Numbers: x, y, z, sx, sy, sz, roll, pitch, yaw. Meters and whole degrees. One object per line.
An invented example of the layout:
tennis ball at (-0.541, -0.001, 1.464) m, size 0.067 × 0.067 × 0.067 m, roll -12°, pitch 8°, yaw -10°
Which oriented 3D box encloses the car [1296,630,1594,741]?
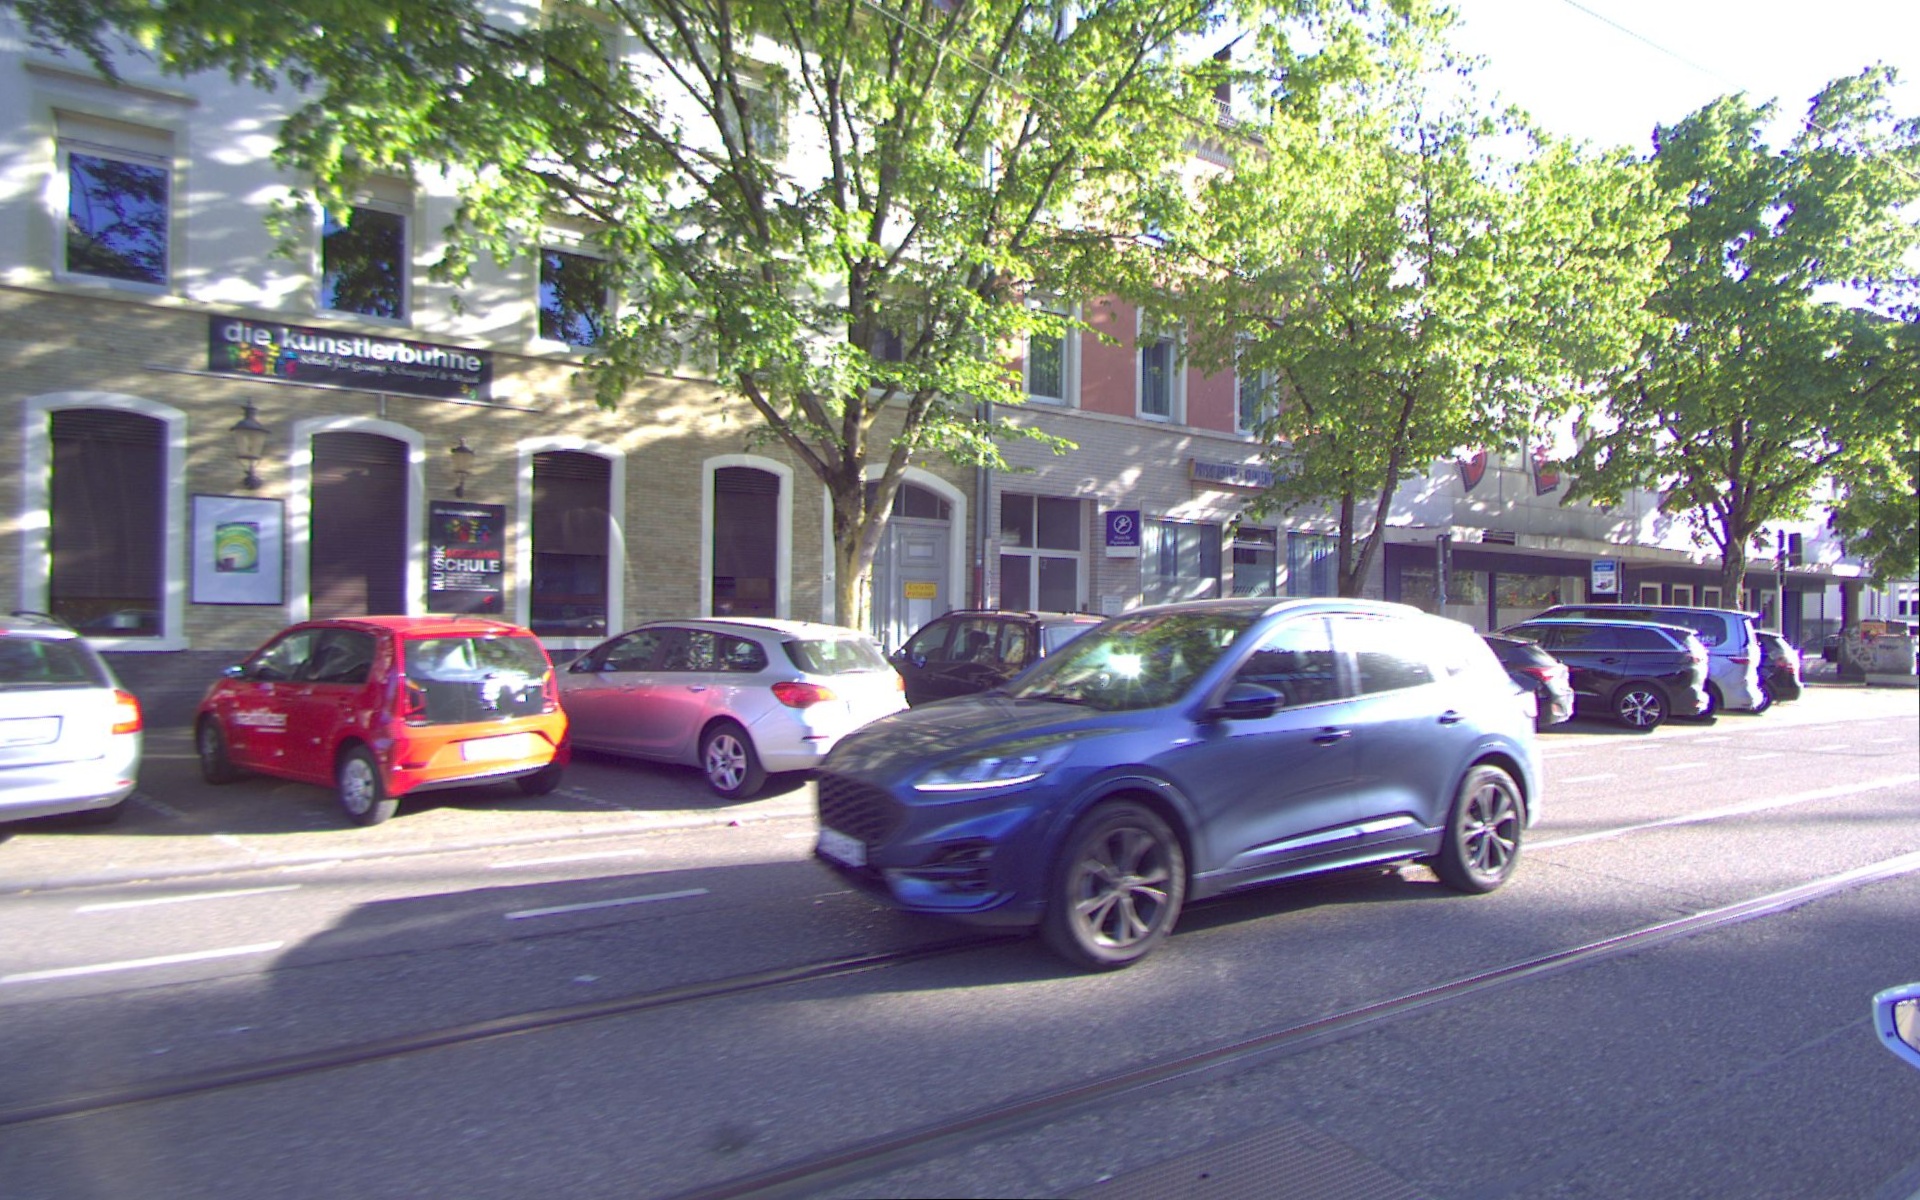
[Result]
car at (7.428, 1.223, 15.583) m, size 3.814 × 1.496 × 1.833 m, roll -2°, pitch -2°, yaw 43°

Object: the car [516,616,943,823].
car at (-2.352, 0.978, 9.897) m, size 4.048 × 1.533 × 1.835 m, roll 1°, pitch 0°, yaw 34°

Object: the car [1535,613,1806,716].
car at (14.122, 1.211, 20.203) m, size 4.227 × 1.689 × 1.905 m, roll 2°, pitch 0°, yaw 37°

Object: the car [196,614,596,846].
car at (-4.858, 0.929, 8.575) m, size 3.315 × 1.513 × 1.609 m, roll 2°, pitch 1°, yaw 33°

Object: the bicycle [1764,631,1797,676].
bicycle at (25.633, 1.662, 31.359) m, size 2.169 × 1.361 × 0.520 m, roll 2°, pitch -2°, yaw -44°

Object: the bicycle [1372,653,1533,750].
bicycle at (6.841, 1.378, 14.041) m, size 1.944 × 1.160 × 0.490 m, roll 2°, pitch 0°, yaw 43°

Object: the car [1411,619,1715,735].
car at (10.087, 1.207, 16.963) m, size 4.185 × 1.707 × 1.802 m, roll -1°, pitch -2°, yaw 40°

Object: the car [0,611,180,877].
car at (-7.234, 0.862, 6.941) m, size 3.620 × 1.490 × 1.749 m, roll 2°, pitch 0°, yaw 32°

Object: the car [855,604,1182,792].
car at (0.483, 0.964, 11.858) m, size 1.820 × 1.700 × 4.081 m, roll 1°, pitch 1°, yaw -32°

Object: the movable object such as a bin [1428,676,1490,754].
movable object such as a bin at (6.599, 1.509, 13.284) m, size 0.569 × 0.925 × 0.572 m, roll 2°, pitch 1°, yaw 44°

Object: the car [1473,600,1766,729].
car at (12.067, 1.069, 18.531) m, size 4.301 × 2.013 × 1.941 m, roll 2°, pitch 0°, yaw 39°

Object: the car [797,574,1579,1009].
car at (1.401, 0.810, 5.737) m, size 4.199 × 1.651 × 1.919 m, roll 2°, pitch -2°, yaw -30°
